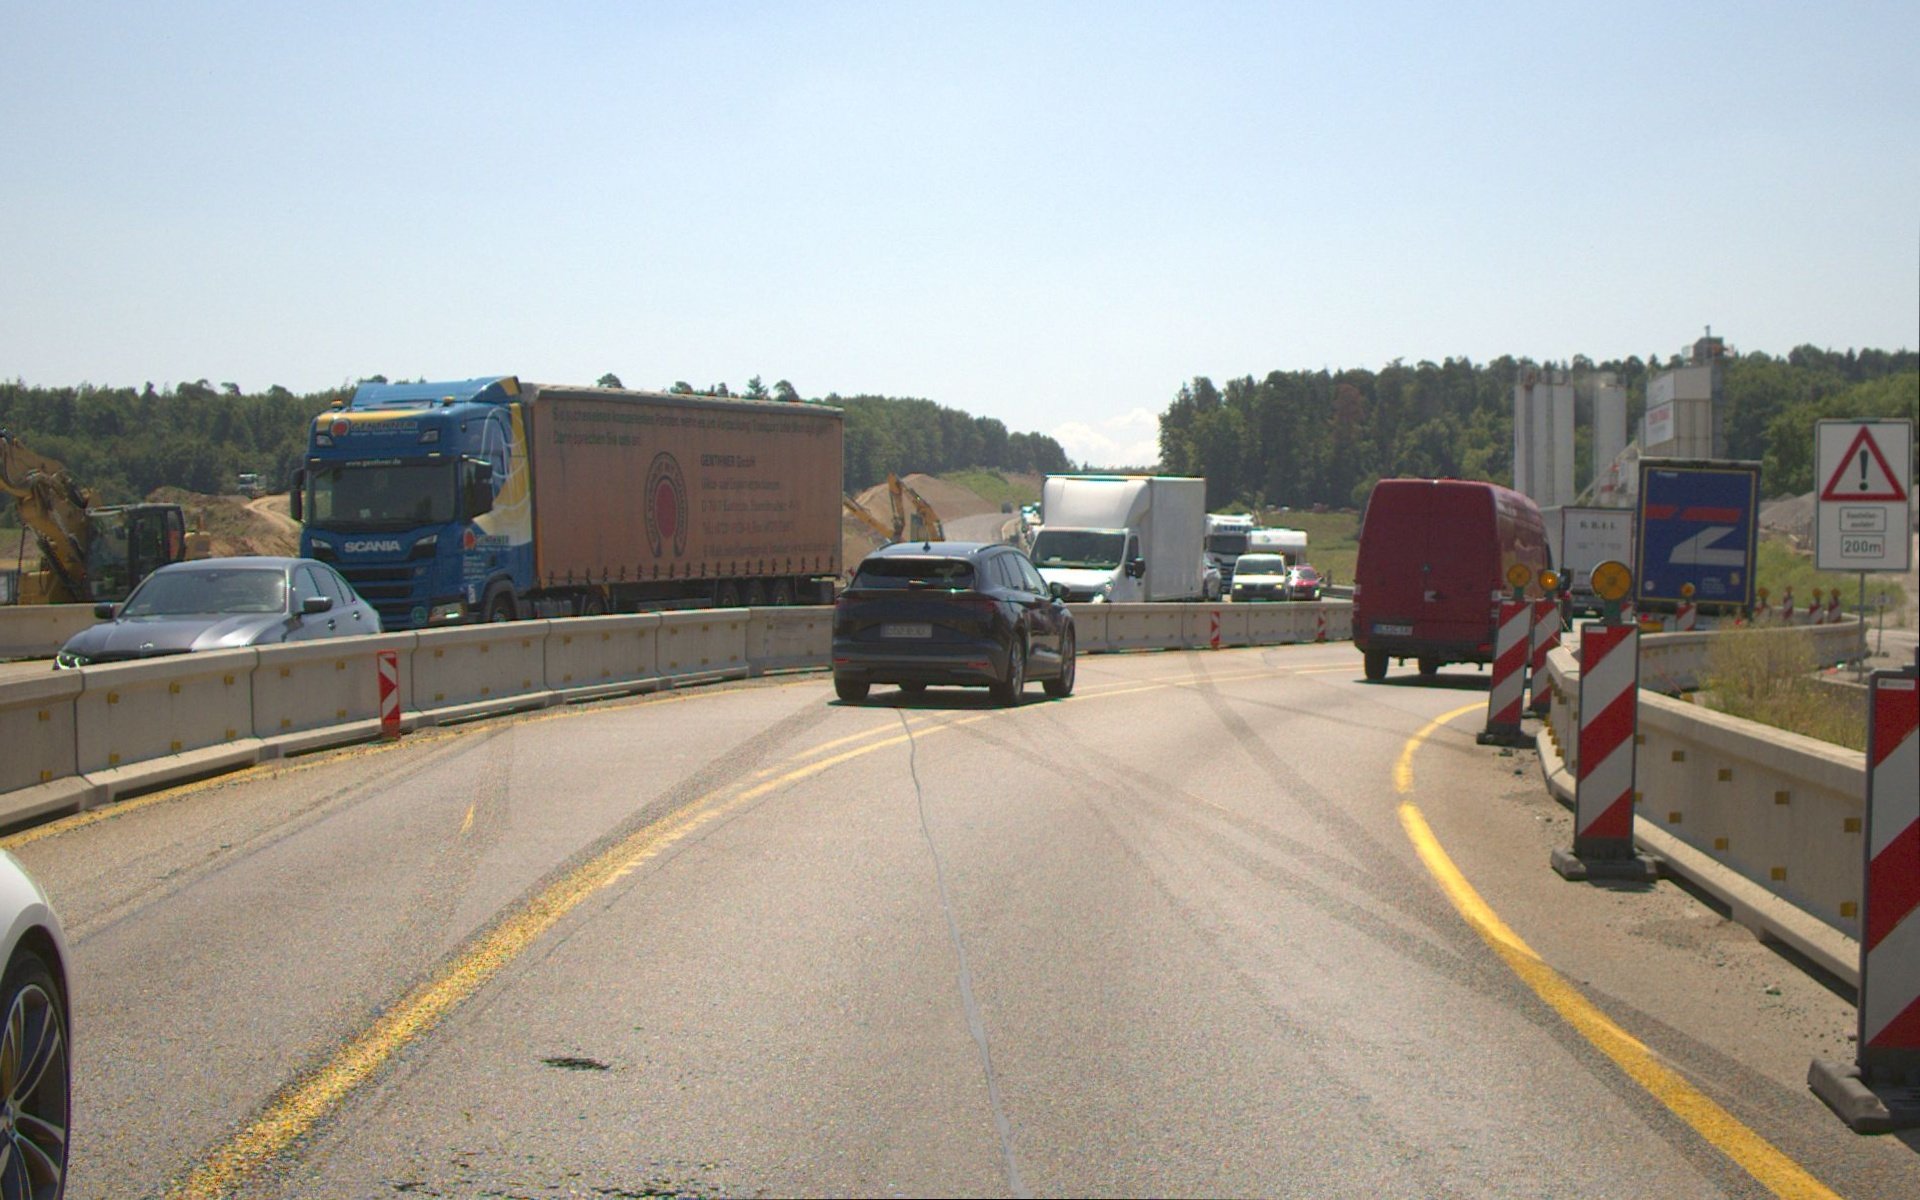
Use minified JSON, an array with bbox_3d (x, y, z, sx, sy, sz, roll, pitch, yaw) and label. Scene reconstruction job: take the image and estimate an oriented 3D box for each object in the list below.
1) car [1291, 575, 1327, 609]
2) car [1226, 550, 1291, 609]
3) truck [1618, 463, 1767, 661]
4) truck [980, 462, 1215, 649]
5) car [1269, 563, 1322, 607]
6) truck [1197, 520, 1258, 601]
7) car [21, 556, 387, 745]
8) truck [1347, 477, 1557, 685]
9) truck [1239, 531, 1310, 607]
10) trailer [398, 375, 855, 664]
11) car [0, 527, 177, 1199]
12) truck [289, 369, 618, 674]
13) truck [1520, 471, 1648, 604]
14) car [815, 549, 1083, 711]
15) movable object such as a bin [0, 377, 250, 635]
[{"bbox_3d":[17.466,-0.413,171.833,1.660,1.600,4.395,1,1,7],"label":"car"},{"bbox_3d":[10.177,-0.699,116.969,1.866,1.947,4.890,1,1,9],"label":"car"},{"bbox_3d":[16.365,-0.855,76.844,3.017,4.138,8.268,1,1,12],"label":"truck"},{"bbox_3d":[2.737,-0.851,65.875,2.581,3.370,6.921,1,1,19],"label":"truck"},{"bbox_3d":[12.528,-0.576,128.309,1.720,1.622,4.334,1,1,9],"label":"car"},{"bbox_3d":[13.726,-2.005,176.115,2.702,4.048,5.499,1,1,8],"label":"truck"},{"bbox_3d":[-6.379,0.370,29.536,1.754,1.473,4.536,1,1,5],"label":"car"},{"bbox_3d":[6.809,-0.279,46.963,2.113,2.624,6.480,1,1,14],"label":"truck"},{"bbox_3d":[13.174,-1.315,144.260,2.441,3.061,7.248,1,1,1],"label":"truck"},{"bbox_3d":[-5.048,-1.236,55.980,2.589,4.138,13.054,1,1,17],"label":"trailer"},{"bbox_3d":[-2.693,0.664,5.175,1.795,1.529,5.073,-1,1,1],"label":"car"},{"bbox_3d":[-7.086,-1.088,48.868,2.546,4.067,5.541,1,1,16],"label":"truck"},{"bbox_3d":[22.984,-2.290,127.127,3.684,4.675,9.751,1,1,5],"label":"truck"},{"bbox_3d":[-0.044,0.265,34.916,1.796,1.529,3.929,1,1,14],"label":"car"},{"bbox_3d":[-16.425,-1.618,60.488,2.927,4.315,9.315,1,1,23],"label":"movable object such as a bin"}]
